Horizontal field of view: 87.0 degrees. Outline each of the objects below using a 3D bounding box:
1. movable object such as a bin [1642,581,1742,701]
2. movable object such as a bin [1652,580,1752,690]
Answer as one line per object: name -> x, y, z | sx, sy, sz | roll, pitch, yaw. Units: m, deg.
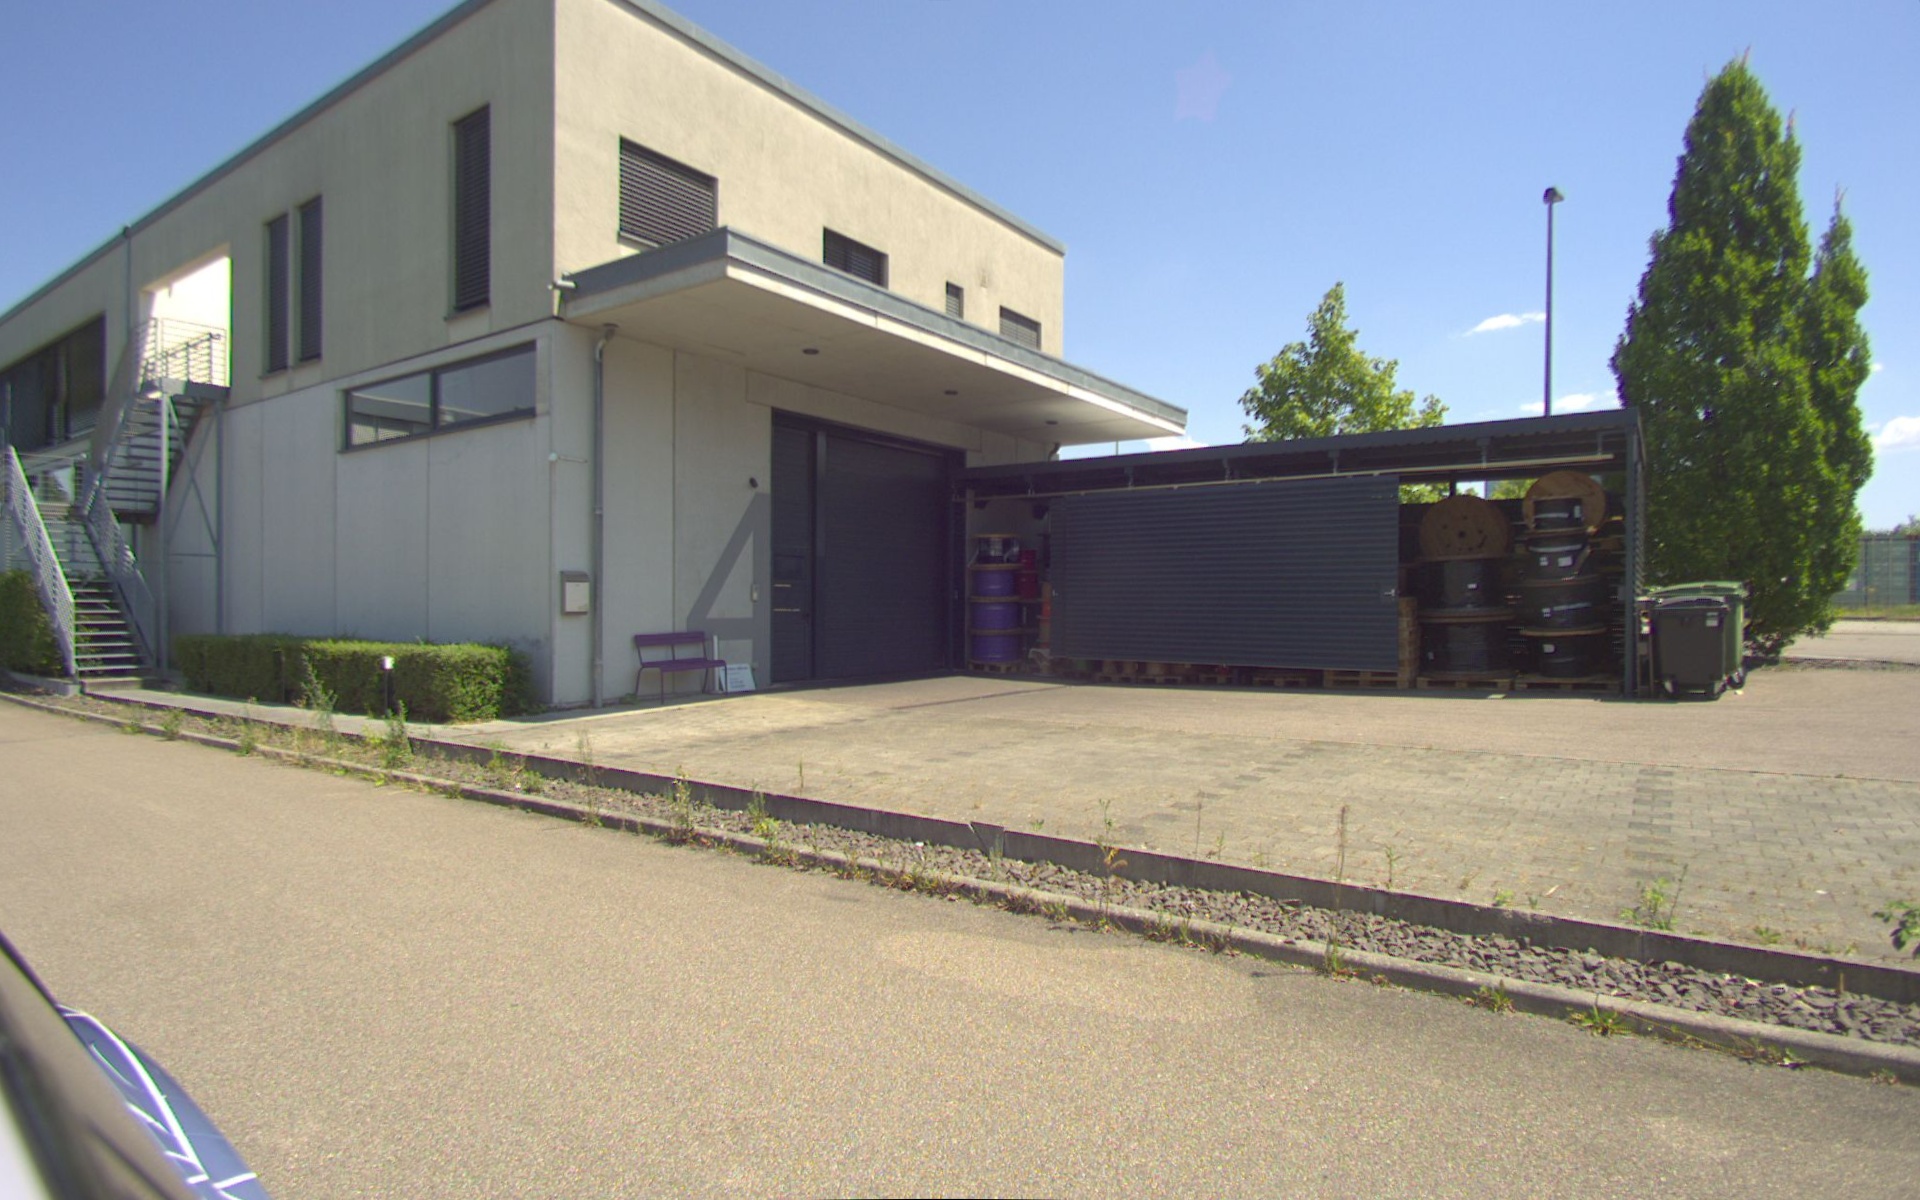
movable object such as a bin -> 8.679, 0.463, 12.003 | 0.884, 1.355, 0.802 | -1, 0, 41
movable object such as a bin -> 9.478, 0.428, 12.930 | 0.973, 1.340, 0.700 | -1, 0, 41
